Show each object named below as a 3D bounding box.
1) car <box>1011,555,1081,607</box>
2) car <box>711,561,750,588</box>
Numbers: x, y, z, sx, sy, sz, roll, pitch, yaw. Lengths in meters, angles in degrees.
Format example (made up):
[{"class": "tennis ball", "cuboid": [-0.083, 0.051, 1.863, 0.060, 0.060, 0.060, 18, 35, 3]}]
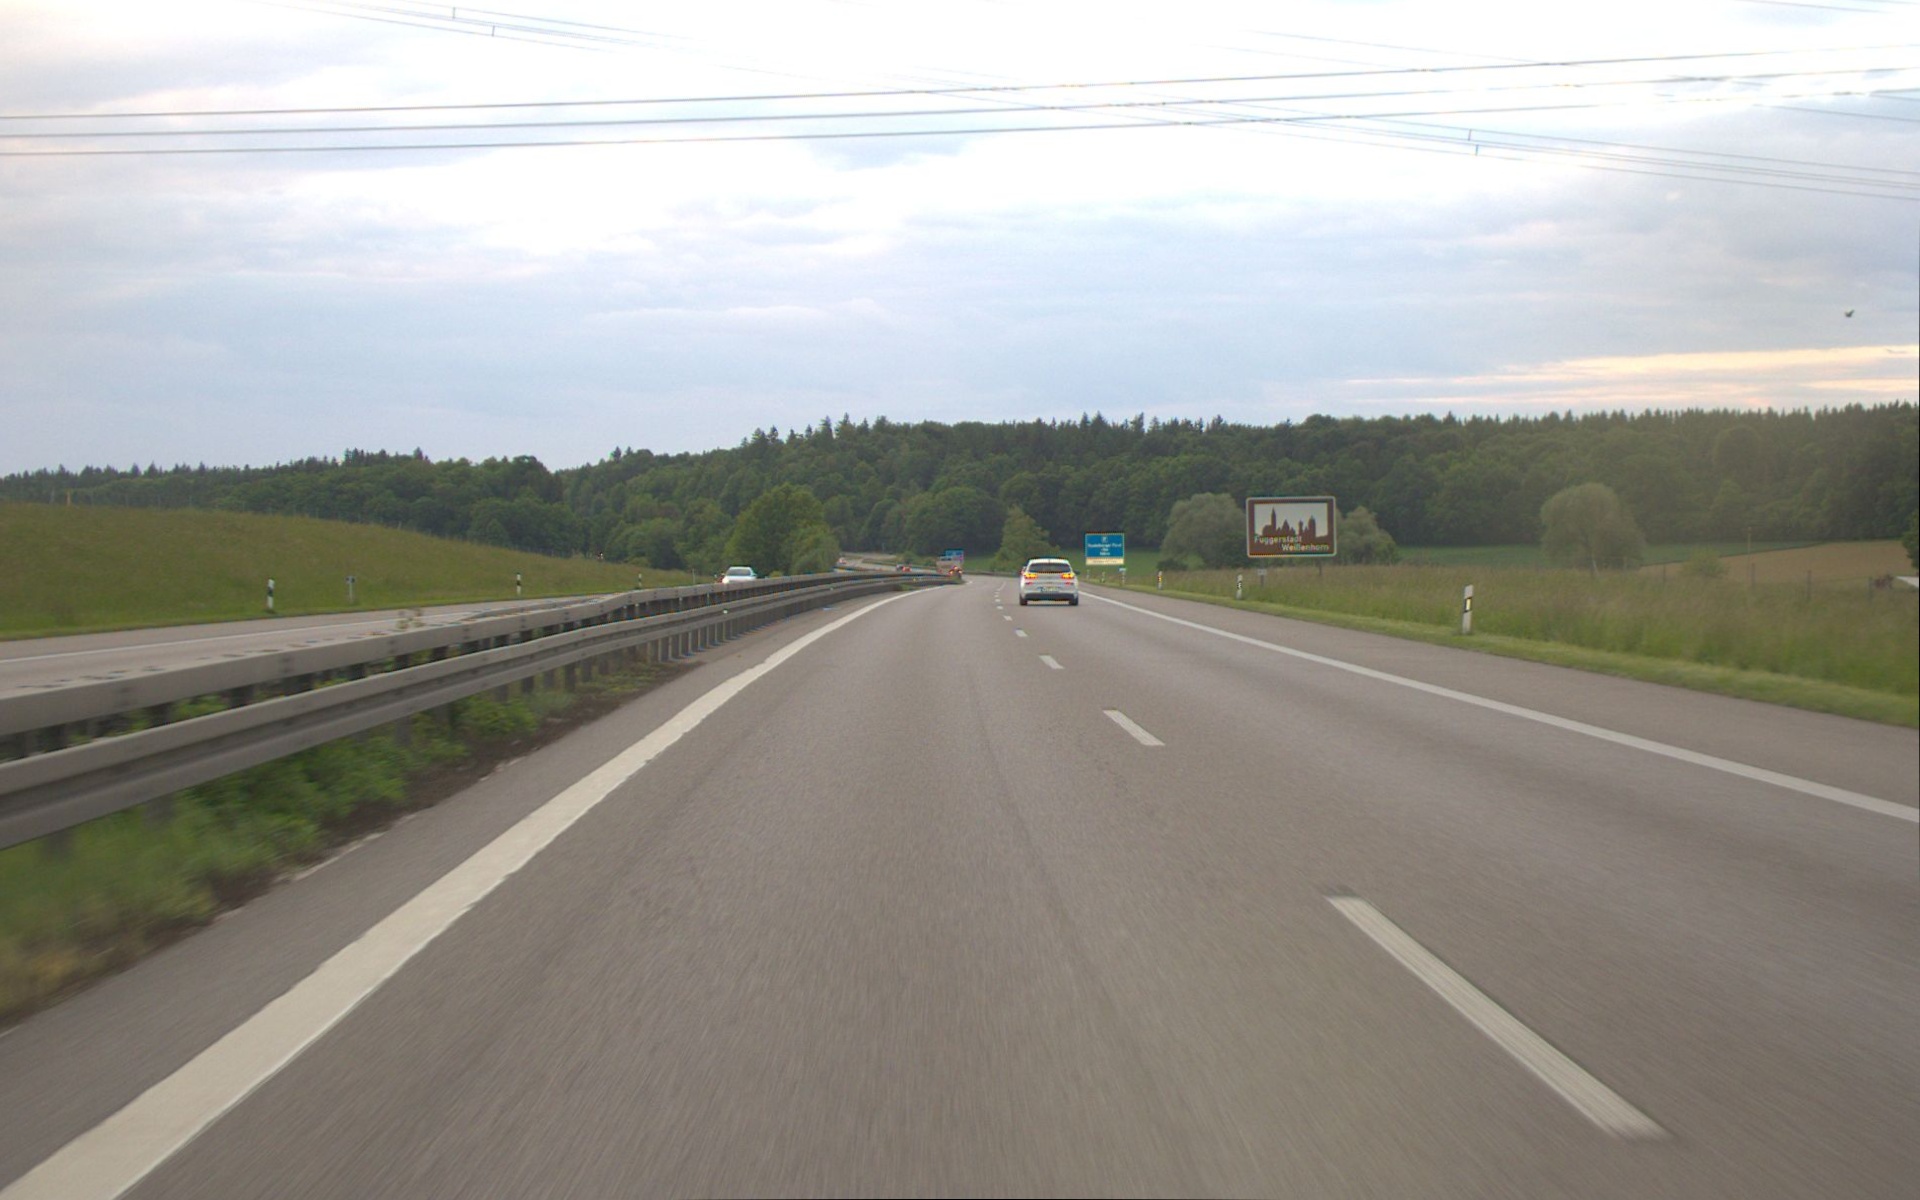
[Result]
[{"class": "car", "cuboid": [2.658, -0.608, 107.066, 1.951, 1.526, 4.080, 1, 1, -1]}, {"class": "car", "cuboid": [-13.335, -1.481, 199.775, 1.765, 1.477, 5.334, 1, 1, 1]}]
